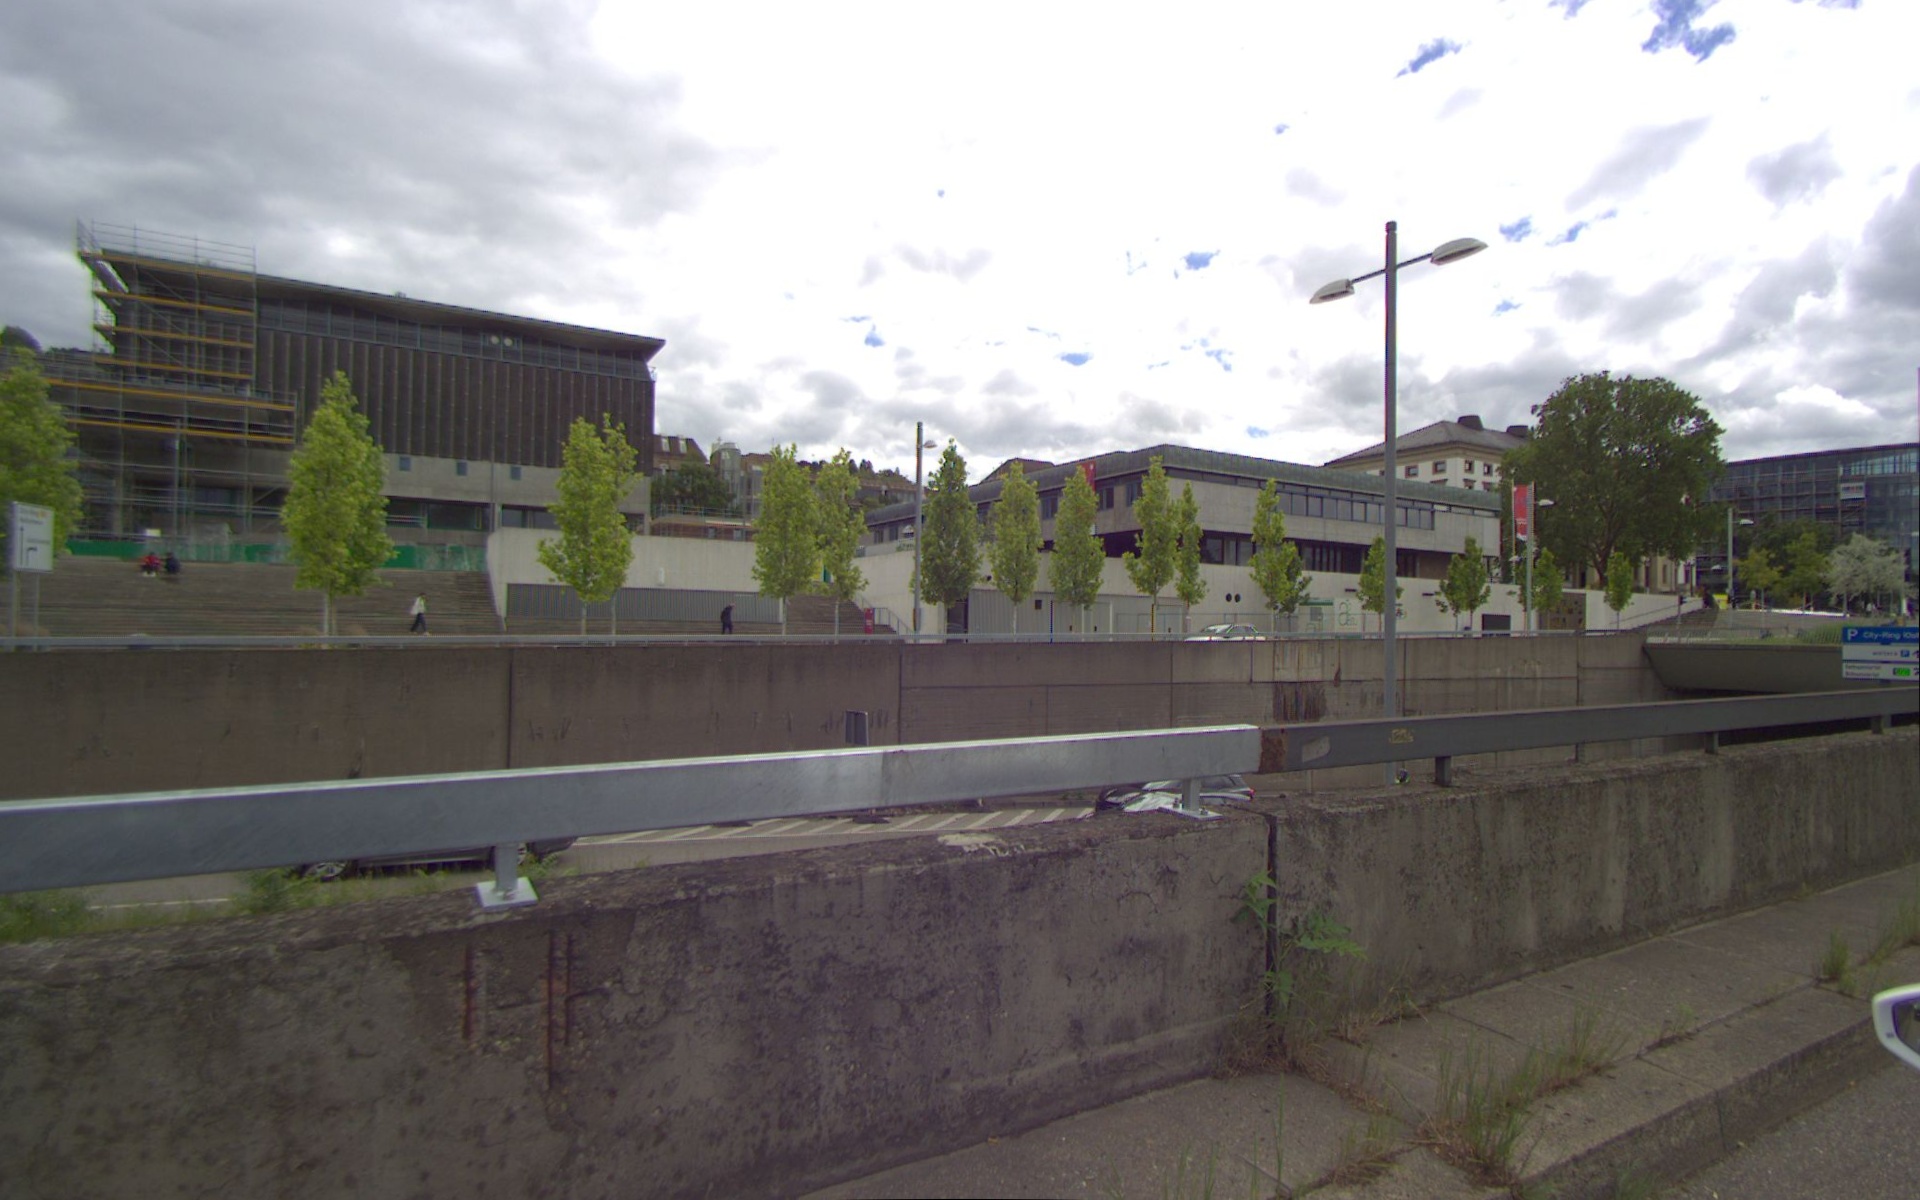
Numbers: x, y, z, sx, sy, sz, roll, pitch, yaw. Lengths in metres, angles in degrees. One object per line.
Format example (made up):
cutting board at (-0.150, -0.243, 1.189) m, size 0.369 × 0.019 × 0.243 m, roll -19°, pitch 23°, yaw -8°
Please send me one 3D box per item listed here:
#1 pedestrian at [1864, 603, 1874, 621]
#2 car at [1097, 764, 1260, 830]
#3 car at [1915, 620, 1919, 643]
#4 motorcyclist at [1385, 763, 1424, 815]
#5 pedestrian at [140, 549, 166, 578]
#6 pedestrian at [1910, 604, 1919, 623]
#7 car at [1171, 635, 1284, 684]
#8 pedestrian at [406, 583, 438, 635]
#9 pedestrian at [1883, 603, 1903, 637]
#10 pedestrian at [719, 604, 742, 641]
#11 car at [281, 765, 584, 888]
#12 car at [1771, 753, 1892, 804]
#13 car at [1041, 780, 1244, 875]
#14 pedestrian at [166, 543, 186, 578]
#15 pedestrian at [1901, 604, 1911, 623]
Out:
pedestrian at (101.095, 1.321, 111.737) m, size 0.730 × 2.040 × 0.789 m, roll -1°, pitch 0°, yaw 40°
car at (5.646, 5.002, 25.863) m, size 3.962 × 1.345 × 1.796 m, roll 5°, pitch -5°, yaw -31°
car at (82.079, 2.622, 83.978) m, size 4.683 × 1.879 × 2.163 m, roll 1°, pitch -1°, yaw -32°
motorcyclist at (12.444, 5.279, 28.121) m, size 0.710 × 1.369 × 0.666 m, roll 4°, pitch -6°, yaw -31°
pedestrian at (-33.061, -1.494, 41.157) m, size 0.761 × 0.957 × 0.718 m, roll 0°, pitch 24°, yaw -36°
pedestrian at (104.822, 1.466, 110.240) m, size 0.730 × 2.040 × 0.789 m, roll -1°, pitch 0°, yaw 40°
car at (10.274, 2.301, 38.566) m, size 3.953 × 1.786 × 1.985 m, roll 2°, pitch -4°, yaw -30°
pedestrian at (-21.356, 0.345, 39.883) m, size 0.777 × 2.040 × 0.741 m, roll -1°, pitch 0°, yaw 10°
pedestrian at (56.980, 1.230, 61.351) m, size 0.623 × 2.040 × 0.724 m, roll -5°, pitch 3°, yaw -37°
pedestrian at (-10.468, 1.014, 45.819) m, size 0.777 × 1.664 × 0.741 m, roll -1°, pitch 0°, yaw 5°
car at (-8.986, 3.793, 17.358) m, size 4.343 × 1.633 × 1.860 m, roll 5°, pitch -5°, yaw -31°
car at (34.174, 6.930, 39.352) m, size 5.191 × 1.659 × 1.985 m, roll 3°, pitch -8°, yaw -31°
car at (3.907, 4.746, 21.330) m, size 4.100 × 1.508 × 1.766 m, roll 4°, pitch -4°, yaw -31°
pedestrian at (-32.414, -1.633, 41.540) m, size 0.619 × 1.258 × 0.665 m, roll 2°, pitch 22°, yaw -36°
pedestrian at (104.406, 1.468, 110.883) m, size 0.730 × 2.040 × 1.109 m, roll -1°, pitch 0°, yaw 40°
